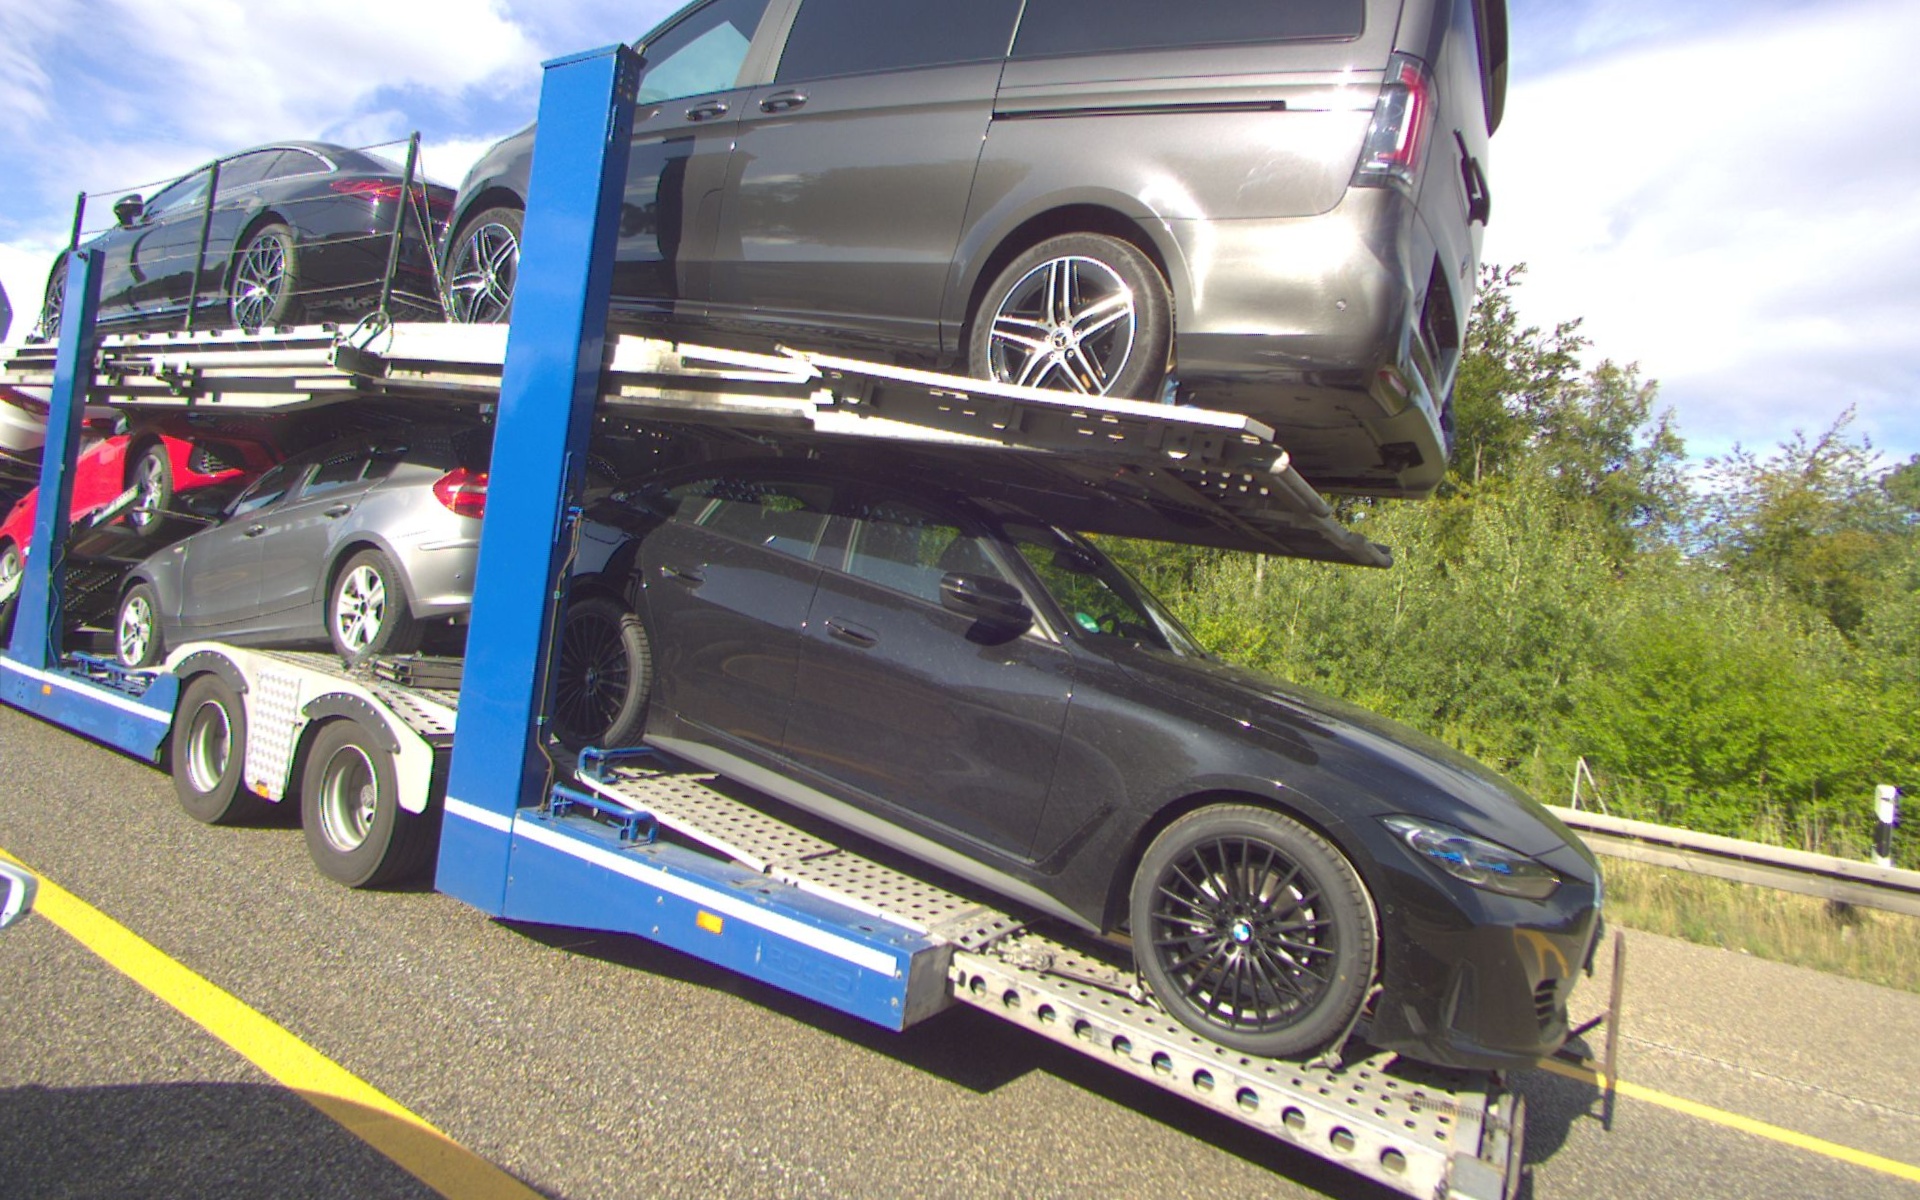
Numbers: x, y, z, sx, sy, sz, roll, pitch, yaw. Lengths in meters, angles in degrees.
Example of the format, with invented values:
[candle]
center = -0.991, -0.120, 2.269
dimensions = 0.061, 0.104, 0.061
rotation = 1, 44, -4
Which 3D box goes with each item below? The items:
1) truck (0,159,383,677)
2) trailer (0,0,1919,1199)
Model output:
[truck]
center = -10.983, -1.812, 11.572
dimensions = 7.817, 4.244, 3.770
rotation = 6, -2, 30
[trailer]
center = -4.062, -0.948, 7.425
dimensions = 15.955, 4.244, 3.735
rotation = 6, -2, 31
